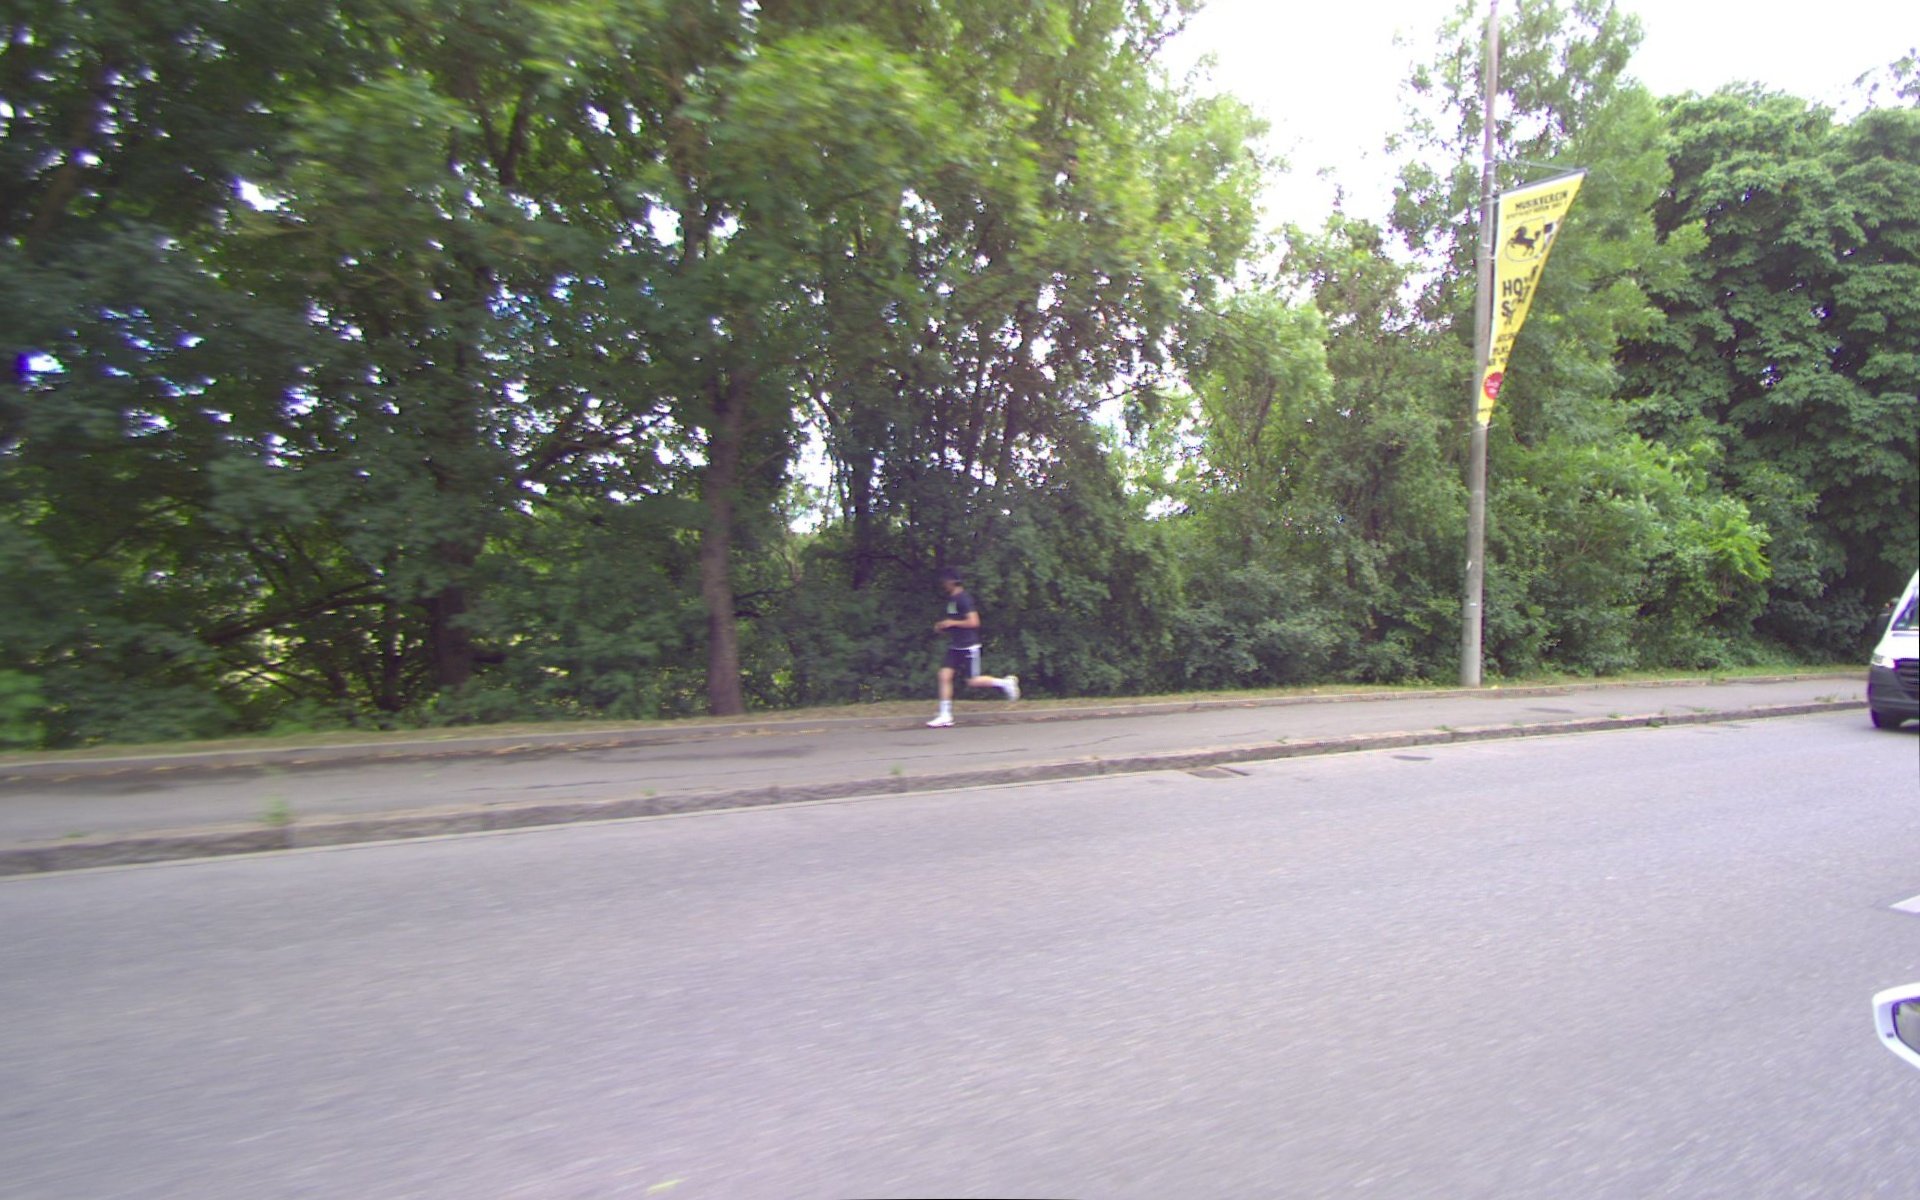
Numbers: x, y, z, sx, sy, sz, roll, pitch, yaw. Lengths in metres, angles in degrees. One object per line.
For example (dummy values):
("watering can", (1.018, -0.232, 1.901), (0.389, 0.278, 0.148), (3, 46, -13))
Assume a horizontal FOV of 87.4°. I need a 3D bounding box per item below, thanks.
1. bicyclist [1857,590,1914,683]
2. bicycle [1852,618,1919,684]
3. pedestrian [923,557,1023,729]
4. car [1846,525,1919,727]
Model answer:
("bicyclist", (20.290, 0.782, 22.017), (0.828, 1.974, 0.681), (1, 2, -37))
("bicycle", (20.489, 1.096, 22.188), (2.260, 1.349, 0.693), (1, 3, -38))
("pedestrian", (0.133, 0.430, 10.628), (0.805, 1.737, 0.596), (1, 2, -31))
("car", (15.242, 0.396, 14.498), (5.827, 2.661, 1.983), (1, 1, -31))
